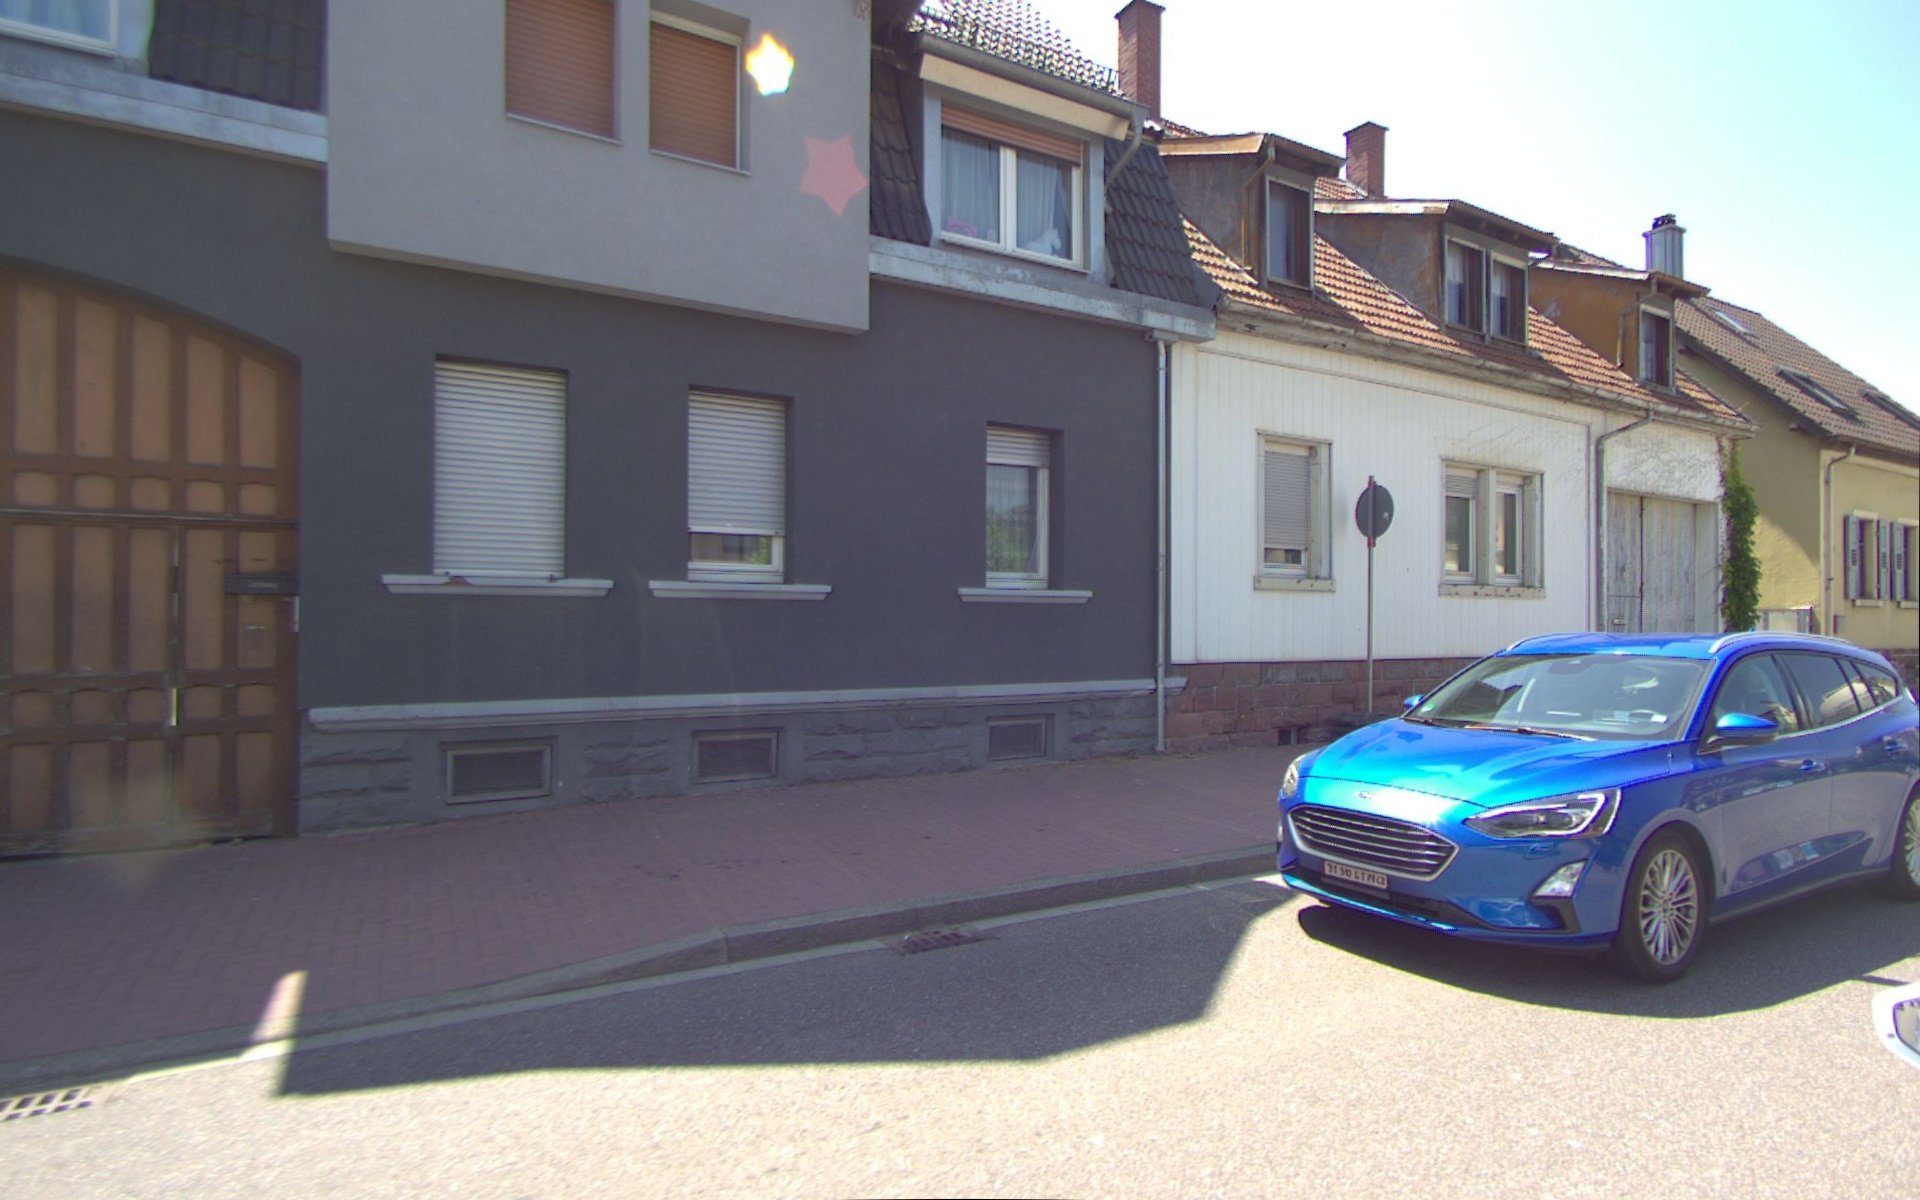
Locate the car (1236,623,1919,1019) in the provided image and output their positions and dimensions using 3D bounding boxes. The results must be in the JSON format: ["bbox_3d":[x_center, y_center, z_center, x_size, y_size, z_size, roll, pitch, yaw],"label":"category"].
[{"bbox_3d":[3.716,0.906,5.572,4.348,1.473,1.638,1,-3,-30],"label":"car"}]
